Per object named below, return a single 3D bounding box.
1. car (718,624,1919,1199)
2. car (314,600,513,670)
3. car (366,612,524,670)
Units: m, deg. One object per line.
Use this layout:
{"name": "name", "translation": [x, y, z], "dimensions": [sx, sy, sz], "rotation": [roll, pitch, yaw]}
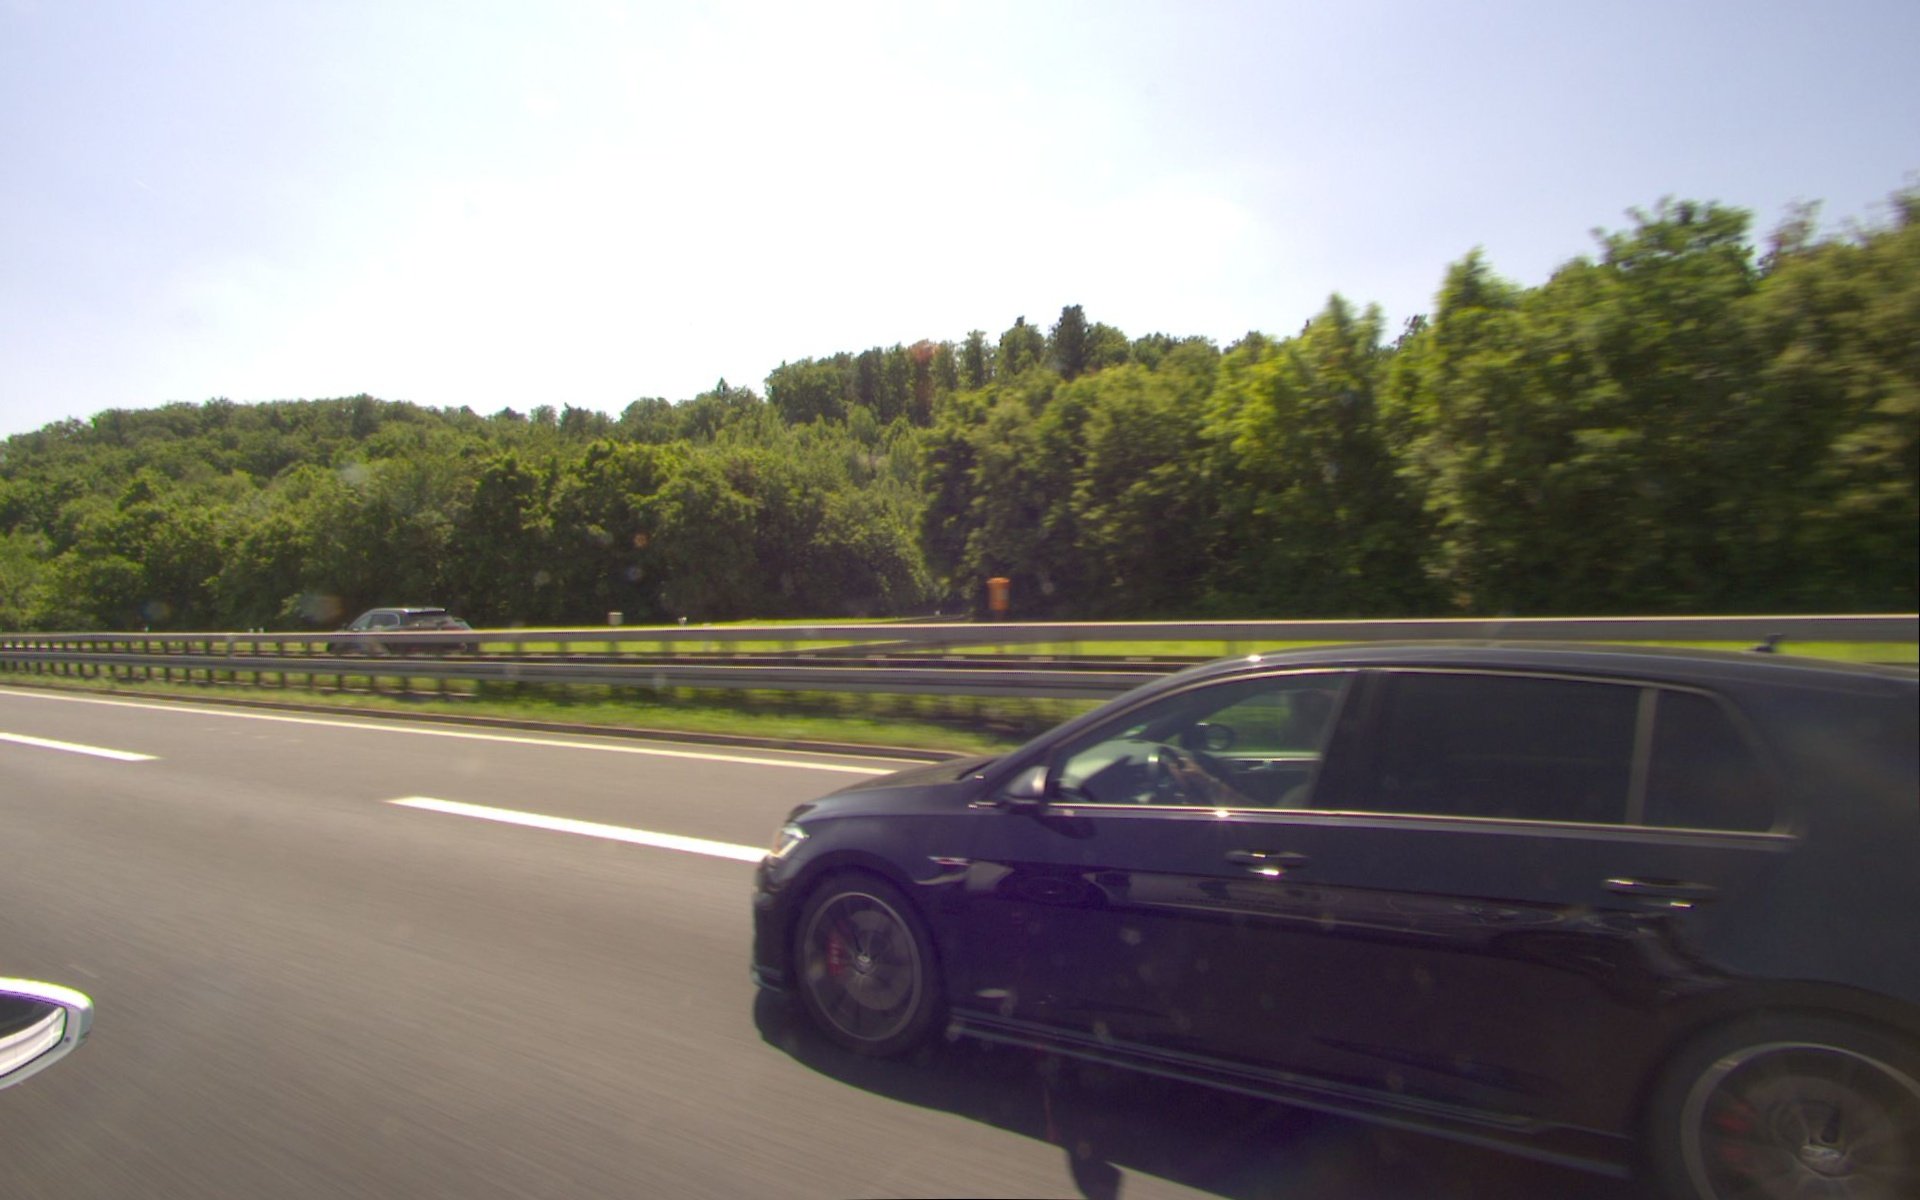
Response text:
{"name": "car", "translation": [1.248, 0.841, 3.469], "dimensions": [3.907, 1.454, 1.792], "rotation": [-2, -1, 30]}
{"name": "car", "translation": [-14.460, 0.939, 26.410], "dimensions": [5.542, 1.683, 1.992], "rotation": [-2, -1, 29]}
{"name": "car", "translation": [-16.179, 1.277, 31.386], "dimensions": [5.151, 1.683, 1.991], "rotation": [-2, -1, 30]}
